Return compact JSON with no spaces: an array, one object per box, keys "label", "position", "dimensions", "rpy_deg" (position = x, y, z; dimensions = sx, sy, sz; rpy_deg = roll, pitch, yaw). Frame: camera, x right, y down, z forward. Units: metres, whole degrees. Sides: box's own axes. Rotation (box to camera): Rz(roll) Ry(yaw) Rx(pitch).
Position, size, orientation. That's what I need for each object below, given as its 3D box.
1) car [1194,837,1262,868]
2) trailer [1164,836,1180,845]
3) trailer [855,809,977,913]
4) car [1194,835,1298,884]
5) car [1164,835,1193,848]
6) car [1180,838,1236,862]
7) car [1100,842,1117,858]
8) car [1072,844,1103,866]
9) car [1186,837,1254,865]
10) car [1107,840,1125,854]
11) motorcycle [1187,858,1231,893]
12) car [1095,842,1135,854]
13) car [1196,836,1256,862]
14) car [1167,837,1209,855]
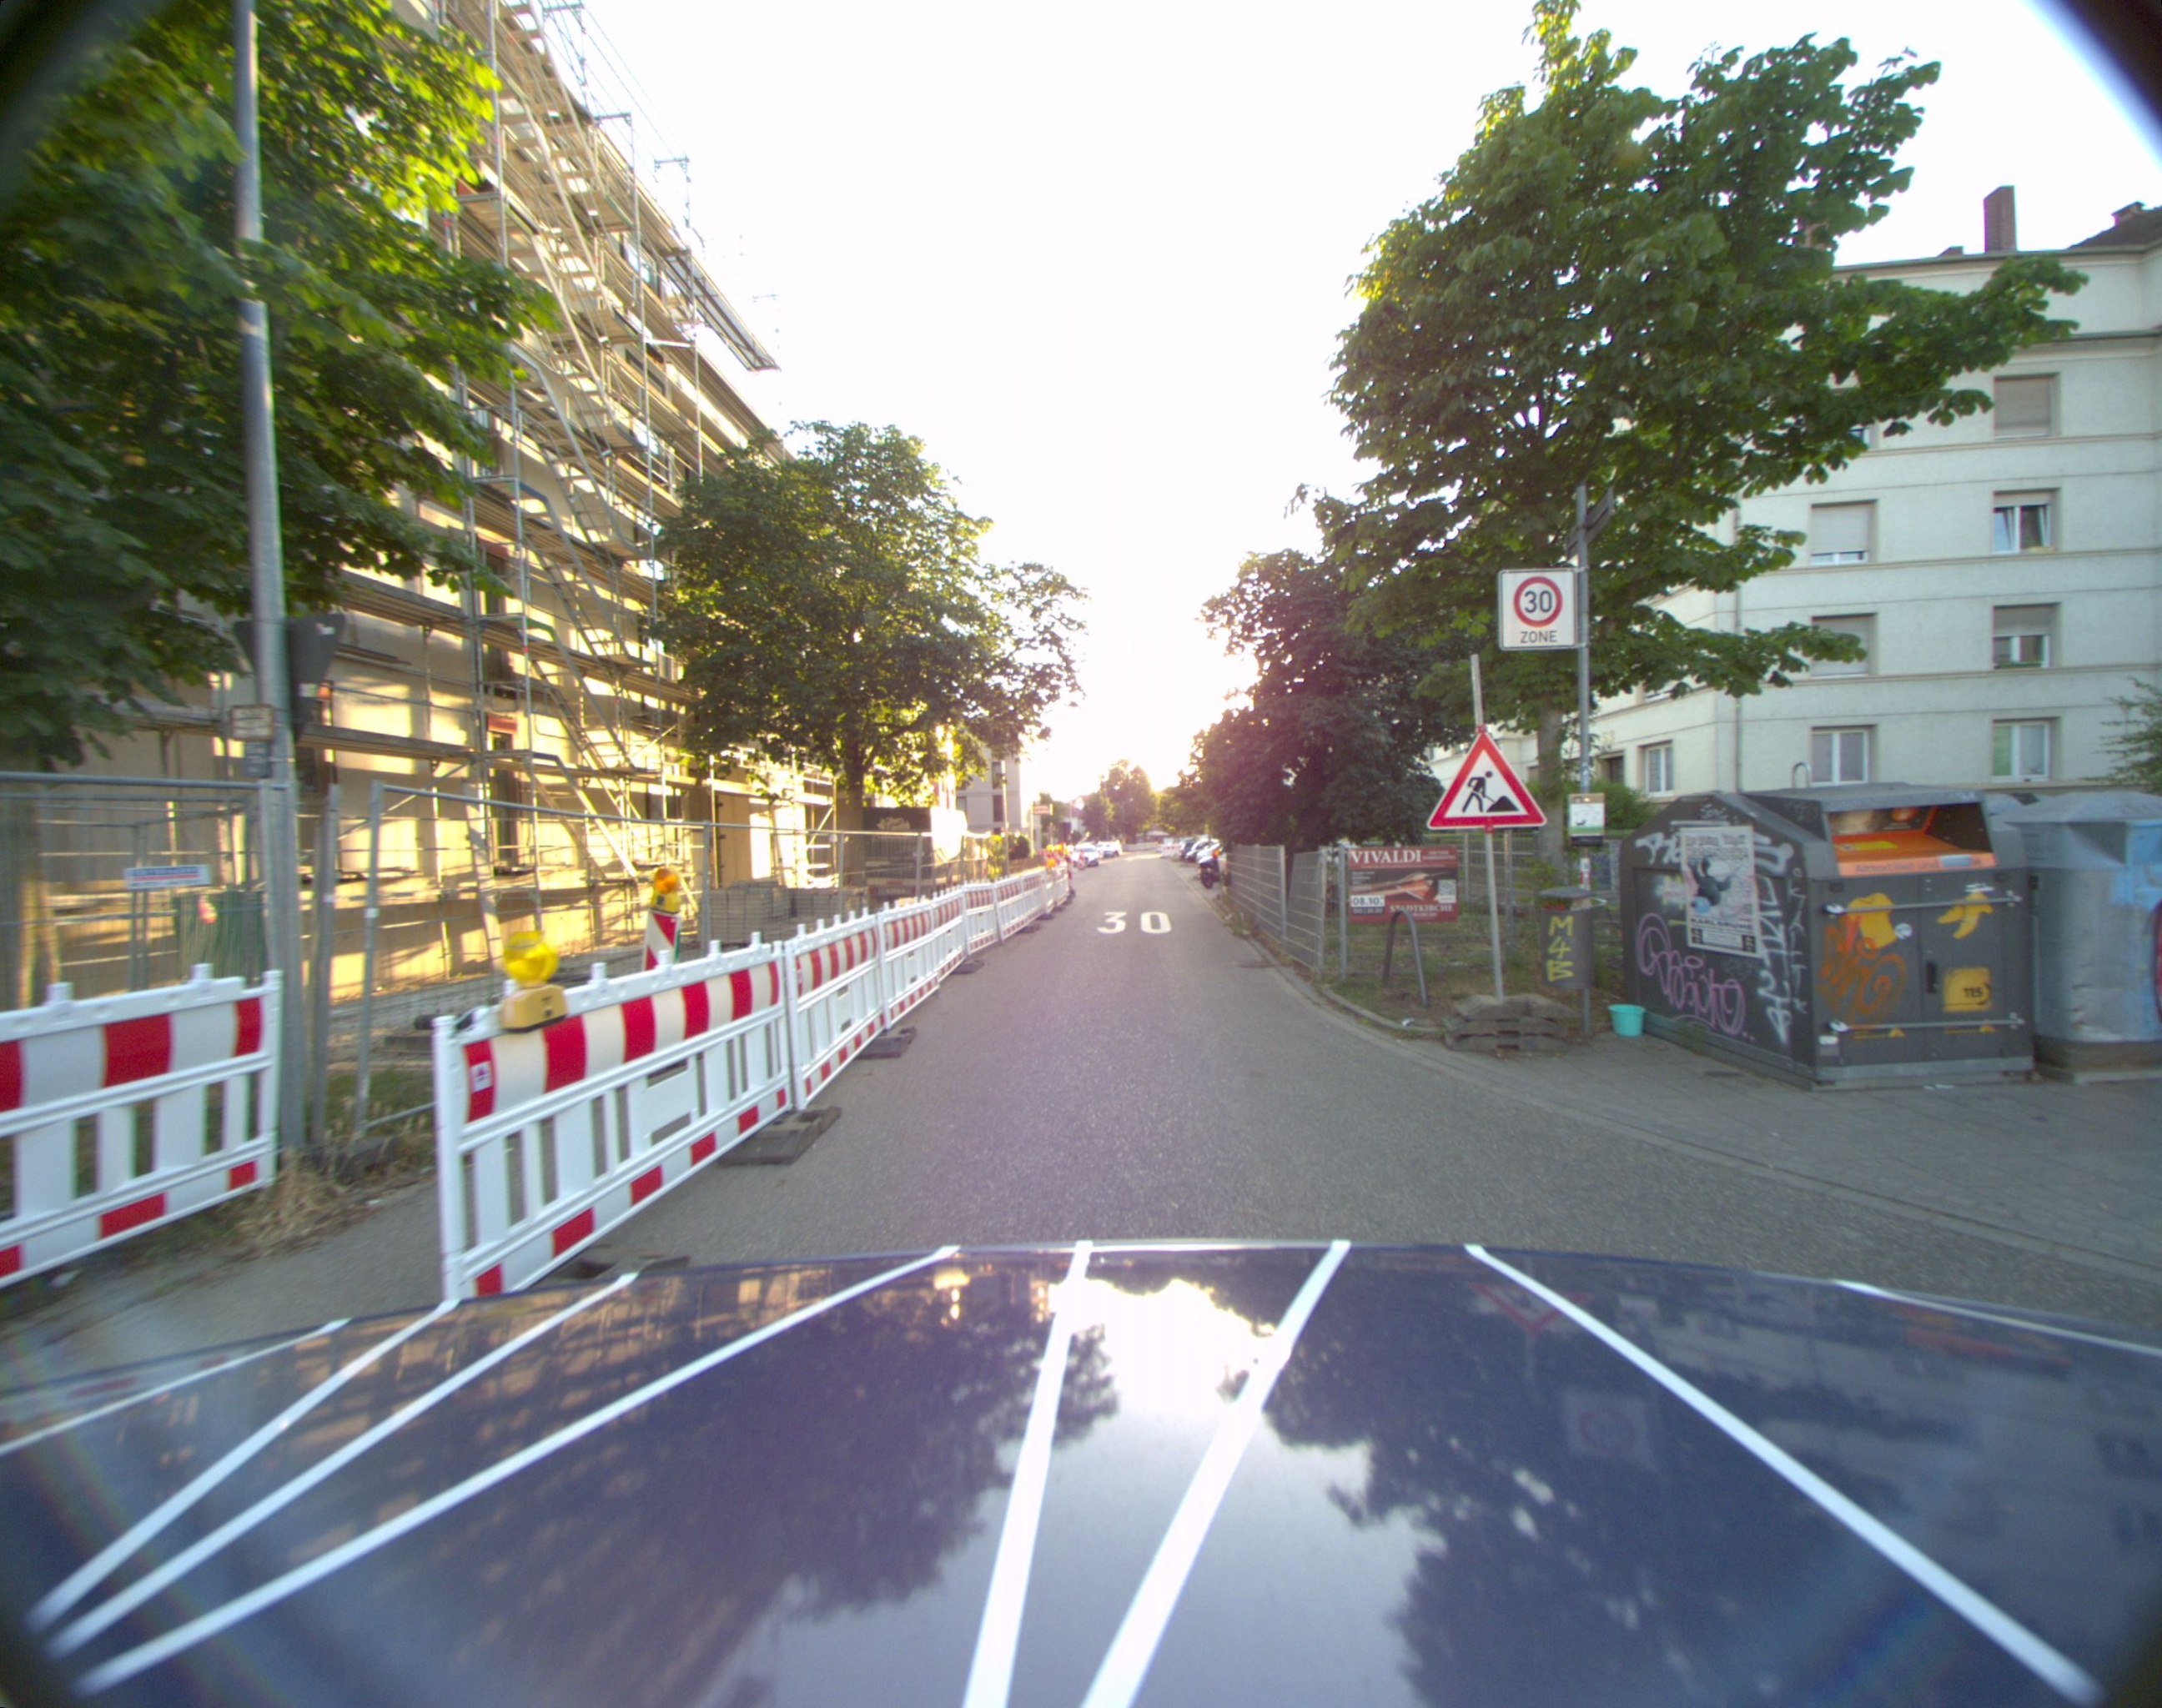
[{"label":"car","position":[8.315,-0.114,43.215],"dimensions":[3.483,1.557,1.727],"rpy_deg":[-3,2,0]},{"label":"trailer","position":[23.060,-3.450,193.046],"dimensions":[3.682,2.057,2.002],"rpy_deg":[-2,1,19]},{"label":"trailer","position":[-4.383,0.159,20.944],"dimensions":[1.998,2.525,4.187],"rpy_deg":[-2,1,6]},{"label":"car","position":[6.329,0.191,29.442],"dimensions":[3.631,1.548,1.693],"rpy_deg":[-5,1,5]},{"label":"car","position":[16.816,-2.107,130.787],"dimensions":[4.783,2.058,2.001],"rpy_deg":[-2,1,10]},{"label":"car","position":[8.809,-0.302,52.914],"dimensions":[3.684,1.437,1.728],"rpy_deg":[-3,2,7]},{"label":"car","position":[2.731,-0.443,75.046],"dimensions":[1.618,1.461,3.997],"rpy_deg":[-2,1,3]},{"label":"car","position":[0.498,0.051,52.167],"dimensions":[1.779,1.389,4.108],"rpy_deg":[-2,1,5]},{"label":"car","position":[8.539,-0.211,47.055],"dimensions":[3.985,1.481,1.728],"rpy_deg":[-3,2,7]},{"label":"car","position":[3.981,-0.770,85.632],"dimensions":[1.744,1.461,3.759],"rpy_deg":[-2,1,6]},{"label":"motorcycle","position":[4.399,0.708,25.908],"dimensions":[0.538,1.015,2.215],"rpy_deg":[-4,1,34]},{"label":"car","position":[4.230,-0.779,93.162],"dimensions":[4.828,1.390,1.770],"rpy_deg":[-1,1,6]},{"label":"car","position":[9.522,-0.322,50.105],"dimensions":[3.684,1.476,1.728],"rpy_deg":[-3,2,7]},{"label":"car","position":[10.155,-0.804,72.172],"dimensions":[3.708,1.475,1.728],"rpy_deg":[-3,1,3]}]
